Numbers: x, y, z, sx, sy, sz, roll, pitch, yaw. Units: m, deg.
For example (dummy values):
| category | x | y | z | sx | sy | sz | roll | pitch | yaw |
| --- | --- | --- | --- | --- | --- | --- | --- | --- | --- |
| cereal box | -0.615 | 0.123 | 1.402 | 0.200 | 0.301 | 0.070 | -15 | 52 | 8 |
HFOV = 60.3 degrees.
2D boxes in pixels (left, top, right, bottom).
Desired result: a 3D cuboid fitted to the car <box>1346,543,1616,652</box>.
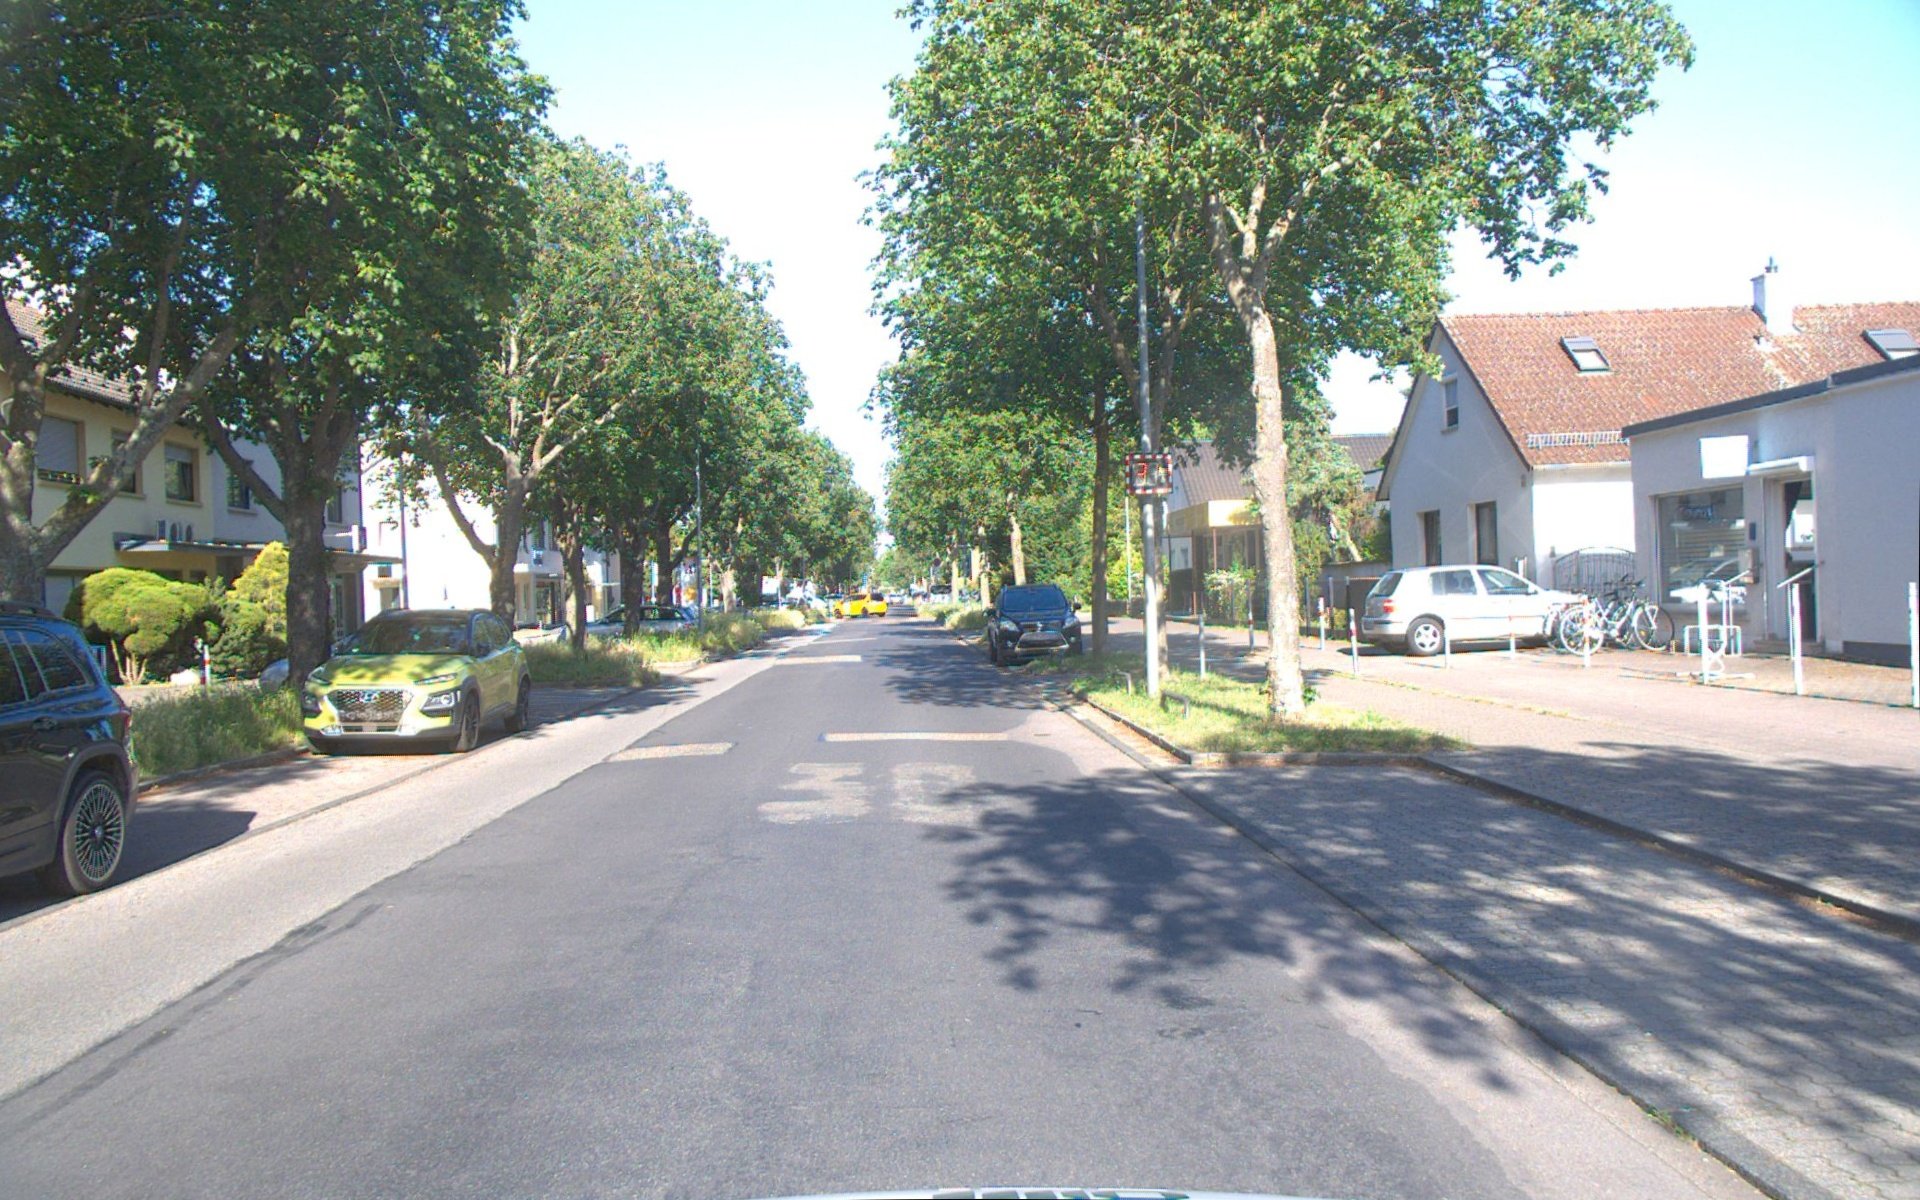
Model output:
| category | x | y | z | sx | sy | sz | roll | pitch | yaw |
| --- | --- | --- | --- | --- | --- | --- | --- | --- | --- |
| car | 8.803 | -0.072 | 28.145 | 3.909 | 1.514 | 1.901 | -4 | 2 | -4 |

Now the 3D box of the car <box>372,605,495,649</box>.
| category | x | y | z | sx | sy | sz | roll | pitch | yaw |
| --- | --- | --- | --- | --- | --- | --- | --- | --- | --- |
| car | -21.719 | 1.095 | 68.360 | 4.467 | 1.646 | 1.998 | -1 | 2 | -6 |

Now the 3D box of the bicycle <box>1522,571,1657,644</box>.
| category | x | y | z | sx | sy | sz | roll | pitch | yaw |
| --- | --- | --- | --- | --- | --- | --- | --- | --- | --- |
| bicycle | 9.922 | 0.111 | 26.079 | 1.886 | 1.016 | 0.576 | -4 | 2 | -4 |

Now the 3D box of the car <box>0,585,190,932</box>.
| category | x | y | z | sx | sy | sz | roll | pitch | yaw |
| --- | --- | --- | --- | --- | --- | --- | --- | --- | --- |
| car | -5.807 | 0.807 | 8.061 | 1.914 | 1.757 | 4.873 | -1 | -1 | -1 |

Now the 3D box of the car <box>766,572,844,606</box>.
| category | x | y | z | sx | sy | sz | roll | pitch | yaw |
| --- | --- | --- | --- | --- | --- | --- | --- | --- | --- |
| car | -11.000 | -0.786 | 117.541 | 5.390 | 2.286 | 2.515 | -1 | 2 | -4 |

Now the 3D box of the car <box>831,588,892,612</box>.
| category | x | y | z | sx | sy | sz | roll | pitch | yaw |
| --- | --- | --- | --- | --- | --- | --- | --- | --- | --- |
| car | -6.412 | 0.009 | 107.346 | 3.819 | 1.505 | 1.882 | 0 | 0 | 42 |

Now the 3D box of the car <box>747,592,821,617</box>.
| category | x | y | z | sx | sy | sz | roll | pitch | yaw |
| --- | --- | --- | --- | --- | --- | --- | --- | --- | --- |
| car | -10.227 | 0.253 | 95.935 | 4.205 | 1.338 | 1.906 | -1 | 2 | -7 |

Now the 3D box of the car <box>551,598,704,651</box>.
| category | x | y | z | sx | sy | sz | roll | pitch | yaw |
| --- | --- | --- | --- | --- | --- | --- | --- | --- | --- |
| car | -10.418 | 0.760 | 52.108 | 4.463 | 1.537 | 1.840 | -1 | 2 | -3 |

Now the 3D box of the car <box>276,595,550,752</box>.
| category | x | y | z | sx | sy | sz | roll | pitch | yaw |
| --- | --- | --- | --- | --- | --- | --- | --- | --- | --- |
| car | -6.356 | 0.803 | 19.770 | 1.900 | 1.637 | 4.382 | -1 | -1 | -1 |

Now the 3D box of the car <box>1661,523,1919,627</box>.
| category | x | y | z | sx | sy | sz | roll | pitch | yaw |
| --- | --- | --- | --- | --- | --- | --- | --- | --- | --- |
| car | 14.808 | -0.466 | 29.315 | 3.910 | 1.514 | 1.900 | -4 | 2 | -6 |

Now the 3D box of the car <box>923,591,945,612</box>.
| category | x | y | z | sx | sy | sz | roll | pitch | yaw |
| --- | --- | --- | --- | --- | --- | --- | --- | --- | --- |
| car | -2.365 | 0.097 | 147.274 | 1.864 | 1.805 | 4.299 | -1 | 0 | -2 |

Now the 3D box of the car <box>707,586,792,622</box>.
| category | x | y | z | sx | sy | sz | roll | pitch | yaw |
| --- | --- | --- | --- | --- | --- | --- | --- | --- | --- |
| car | -11.380 | 0.200 | 89.548 | 4.459 | 1.796 | 1.997 | -1 | 2 | -7 |

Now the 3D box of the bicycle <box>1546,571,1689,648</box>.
| category | x | y | z | sx | sy | sz | roll | pitch | yaw |
| --- | --- | --- | --- | --- | --- | --- | --- | --- | --- |
| bicycle | 9.971 | 0.139 | 25.094 | 1.919 | 1.016 | 0.576 | -4 | 2 | -4 |

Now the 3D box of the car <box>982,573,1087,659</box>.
| category | x | y | z | sx | sy | sz | roll | pitch | yaw |
| --- | --- | --- | --- | --- | --- | --- | --- | --- | --- |
| car | 1.568 | 0.336 | 36.228 | 1.816 | 1.654 | 4.467 | -3 | 0 | -3 |

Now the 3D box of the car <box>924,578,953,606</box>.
| category | x | y | z | sx | sy | sz | roll | pitch | yaw |
| --- | --- | --- | --- | --- | --- | --- | --- | --- | --- |
| car | -1.427 | -0.502 | 108.832 | 1.864 | 1.805 | 4.299 | -1 | 0 | -2 |
